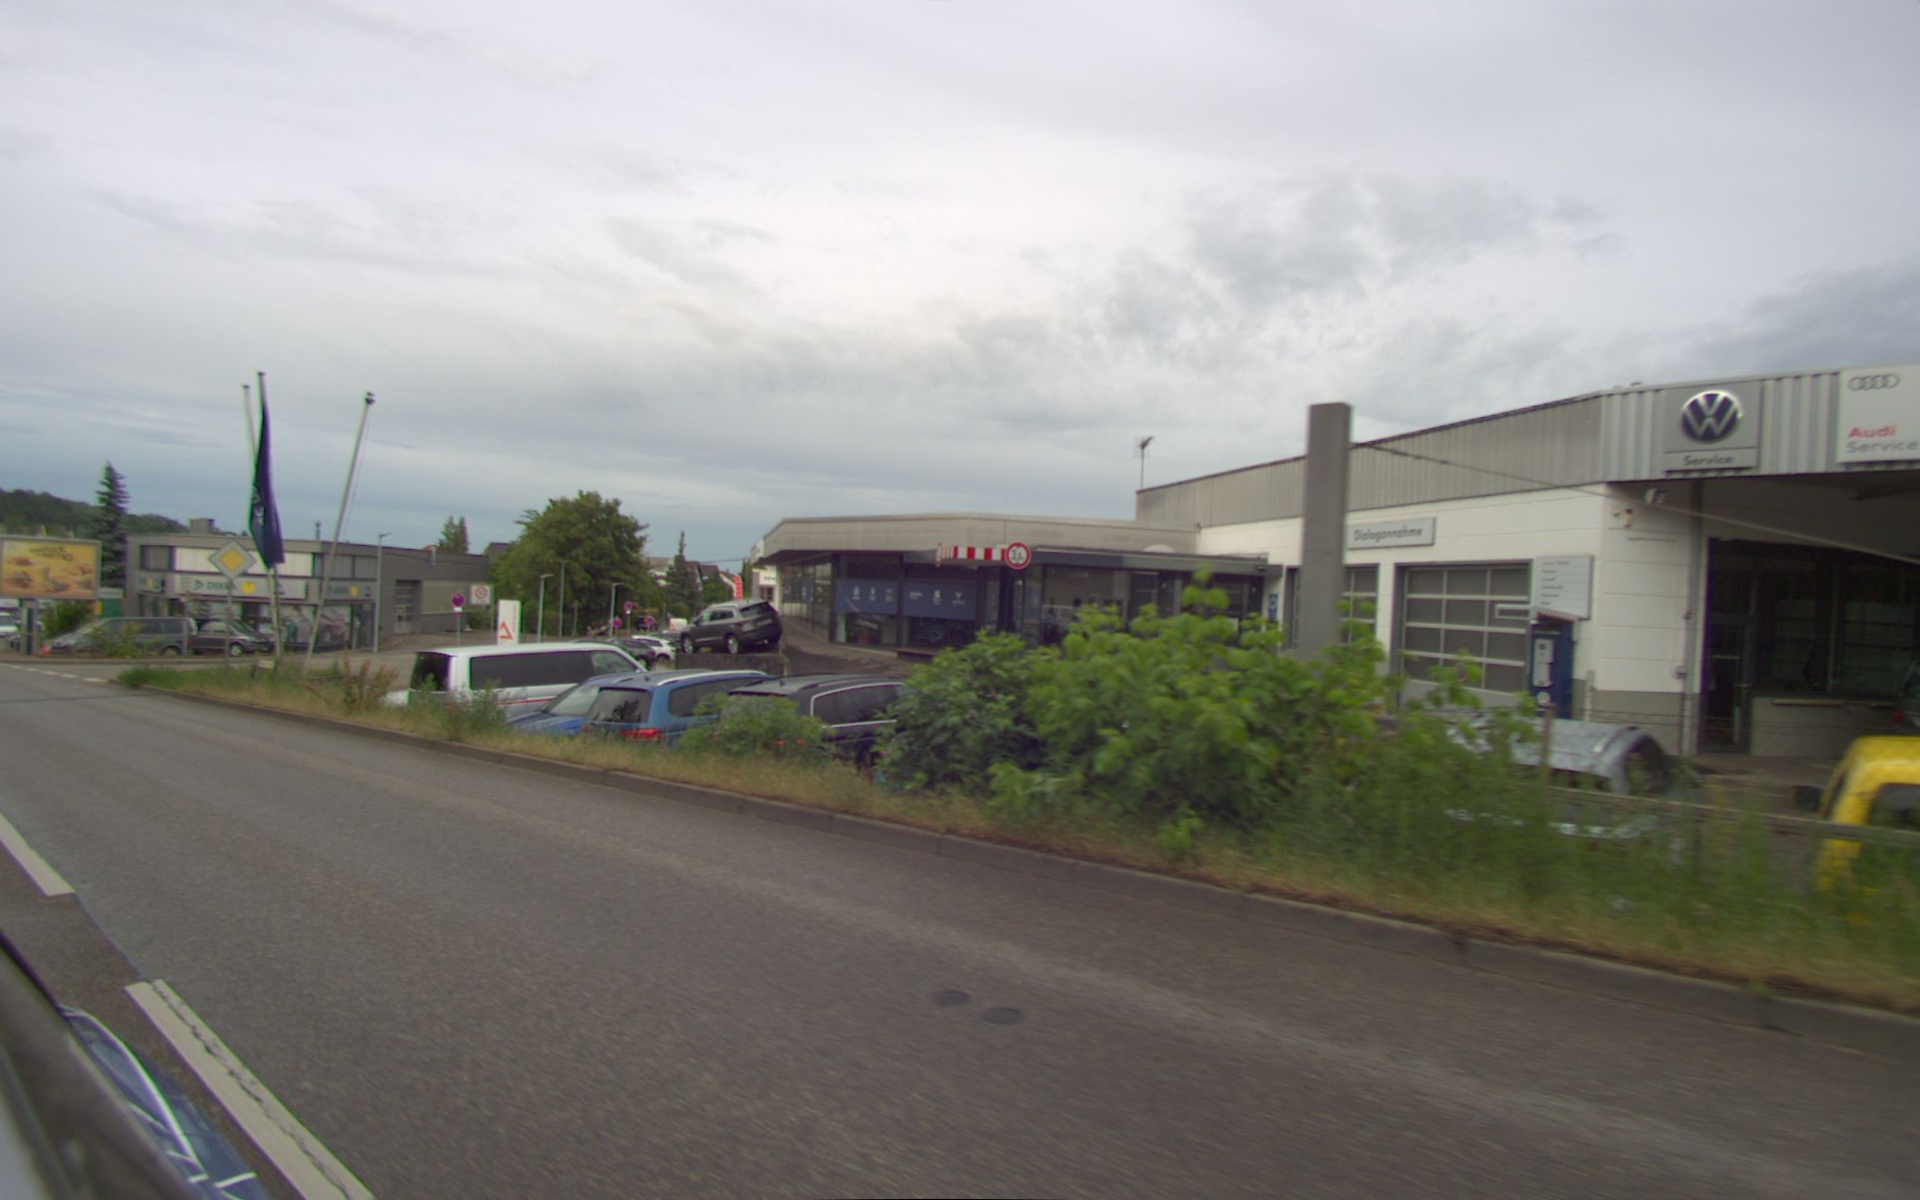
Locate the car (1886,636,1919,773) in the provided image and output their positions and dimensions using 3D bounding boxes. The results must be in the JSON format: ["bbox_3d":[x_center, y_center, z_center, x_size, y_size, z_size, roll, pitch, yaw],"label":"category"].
[{"bbox_3d":[16.218,1.624,14.666,4.410,1.975,1.994,3,-2,-14],"label":"car"}]

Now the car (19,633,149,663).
[{"bbox_3d":[-39.456,2.132,45.675,1.761,1.277,4.066,0,-2,27],"label":"car"}]

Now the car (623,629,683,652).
[{"bbox_3d":[-19.952,2.634,65.732,3.530,1.439,1.588,1,-2,-24],"label":"car"}]

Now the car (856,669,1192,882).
[{"bbox_3d":[0.922,1.777,11.635,1.872,1.811,4.186,-1,-2,37],"label":"car"}]

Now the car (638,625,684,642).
[{"bbox_3d":[-21.573,2.445,72.974,3.010,1.197,1.386,1,-2,-24],"label":"car"}]

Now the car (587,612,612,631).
[{"bbox_3d":[-31.153,1.847,87.476,1.384,1.559,3.220,1,-2,-7],"label":"car"}]

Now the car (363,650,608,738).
[{"bbox_3d":[-9.231,1.761,19.947,1.822,1.489,3.969,-1,-2,39],"label":"car"}]

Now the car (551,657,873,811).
[{"bbox_3d":[-3.489,1.809,15.003,1.999,1.811,4.371,-1,-2,37],"label":"car"}]

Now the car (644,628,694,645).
[{"bbox_3d":[-20.395,2.562,70.983,3.205,1.188,1.456,1,-2,-24],"label":"car"}]

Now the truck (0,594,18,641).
[{"bbox_3d":[-57.490,0.994,59.343,7.880,2.653,1.975,0,-2,38],"label":"truck"}]

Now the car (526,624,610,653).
[{"bbox_3d":[-20.330,1.993,52.489,3.921,1.439,1.785,1,-2,-24],"label":"car"}]

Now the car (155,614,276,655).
[{"bbox_3d":[-39.067,1.808,53.198,4.803,2.002,2.002,-1,-1,-5],"label":"car"}]

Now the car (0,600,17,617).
[{"bbox_3d":[-119.963,1.009,124.922,2.025,2.102,5.254,2,-2,0],"label":"car"}]

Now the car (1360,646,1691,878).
[{"bbox_3d":[4.933,1.102,8.512,1.872,1.379,4.186,-1,-2,37],"label":"car"}]

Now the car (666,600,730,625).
[{"bbox_3d":[-25.943,1.270,100.357,5.789,2.387,2.149,0,0,-4],"label":"car"}]

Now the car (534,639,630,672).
[{"bbox_3d":[-17.562,2.540,46.977,4.034,1.439,1.896,1,-2,-24],"label":"car"}]

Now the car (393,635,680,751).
[{"bbox_3d":[-7.469,1.543,18.237,1.932,1.811,4.368,-1,-2,39],"label":"car"}]

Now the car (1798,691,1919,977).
[{"bbox_3d":[6.687,1.357,6.492,1.801,1.301,4.024,-1,-2,37],"label":"car"}]

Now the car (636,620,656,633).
[{"bbox_3d":[-31.919,2.695,102.900,1.360,1.197,3.068,1,-2,-7],"label":"car"}]

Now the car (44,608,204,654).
[{"bbox_3d":[-36.306,1.339,44.098,1.817,1.885,5.028,0,-2,32],"label":"car"}]

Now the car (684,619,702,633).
[{"bbox_3d":[-29.431,2.882,111.547,1.487,1.470,3.441,1,-2,-7],"label":"car"}]

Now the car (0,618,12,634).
[{"bbox_3d":[-89.390,2.391,92.933,1.760,1.521,4.056,2,-1,-18],"label":"car"}]

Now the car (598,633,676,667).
[{"bbox_3d":[-17.863,2.729,55.930,3.921,1.802,1.826,1,-2,-24],"label":"car"}]

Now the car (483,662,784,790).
[{"bbox_3d":[-5.262,1.945,16.812,2.000,1.708,4.368,-1,-2,39],"label":"car"}]

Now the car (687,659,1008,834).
[{"bbox_3d":[-1.317,1.747,13.430,1.872,1.811,4.186,-1,-2,37],"label":"car"}]

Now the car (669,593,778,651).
[{"bbox_3d":[-7.966,0.727,33.888,4.251,1.814,1.384,0,-2,43],"label":"car"}]

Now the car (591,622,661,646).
[{"bbox_3d":[-20.523,2.116,62.170,3.921,1.439,1.850,1,-2,-24],"label":"car"}]
